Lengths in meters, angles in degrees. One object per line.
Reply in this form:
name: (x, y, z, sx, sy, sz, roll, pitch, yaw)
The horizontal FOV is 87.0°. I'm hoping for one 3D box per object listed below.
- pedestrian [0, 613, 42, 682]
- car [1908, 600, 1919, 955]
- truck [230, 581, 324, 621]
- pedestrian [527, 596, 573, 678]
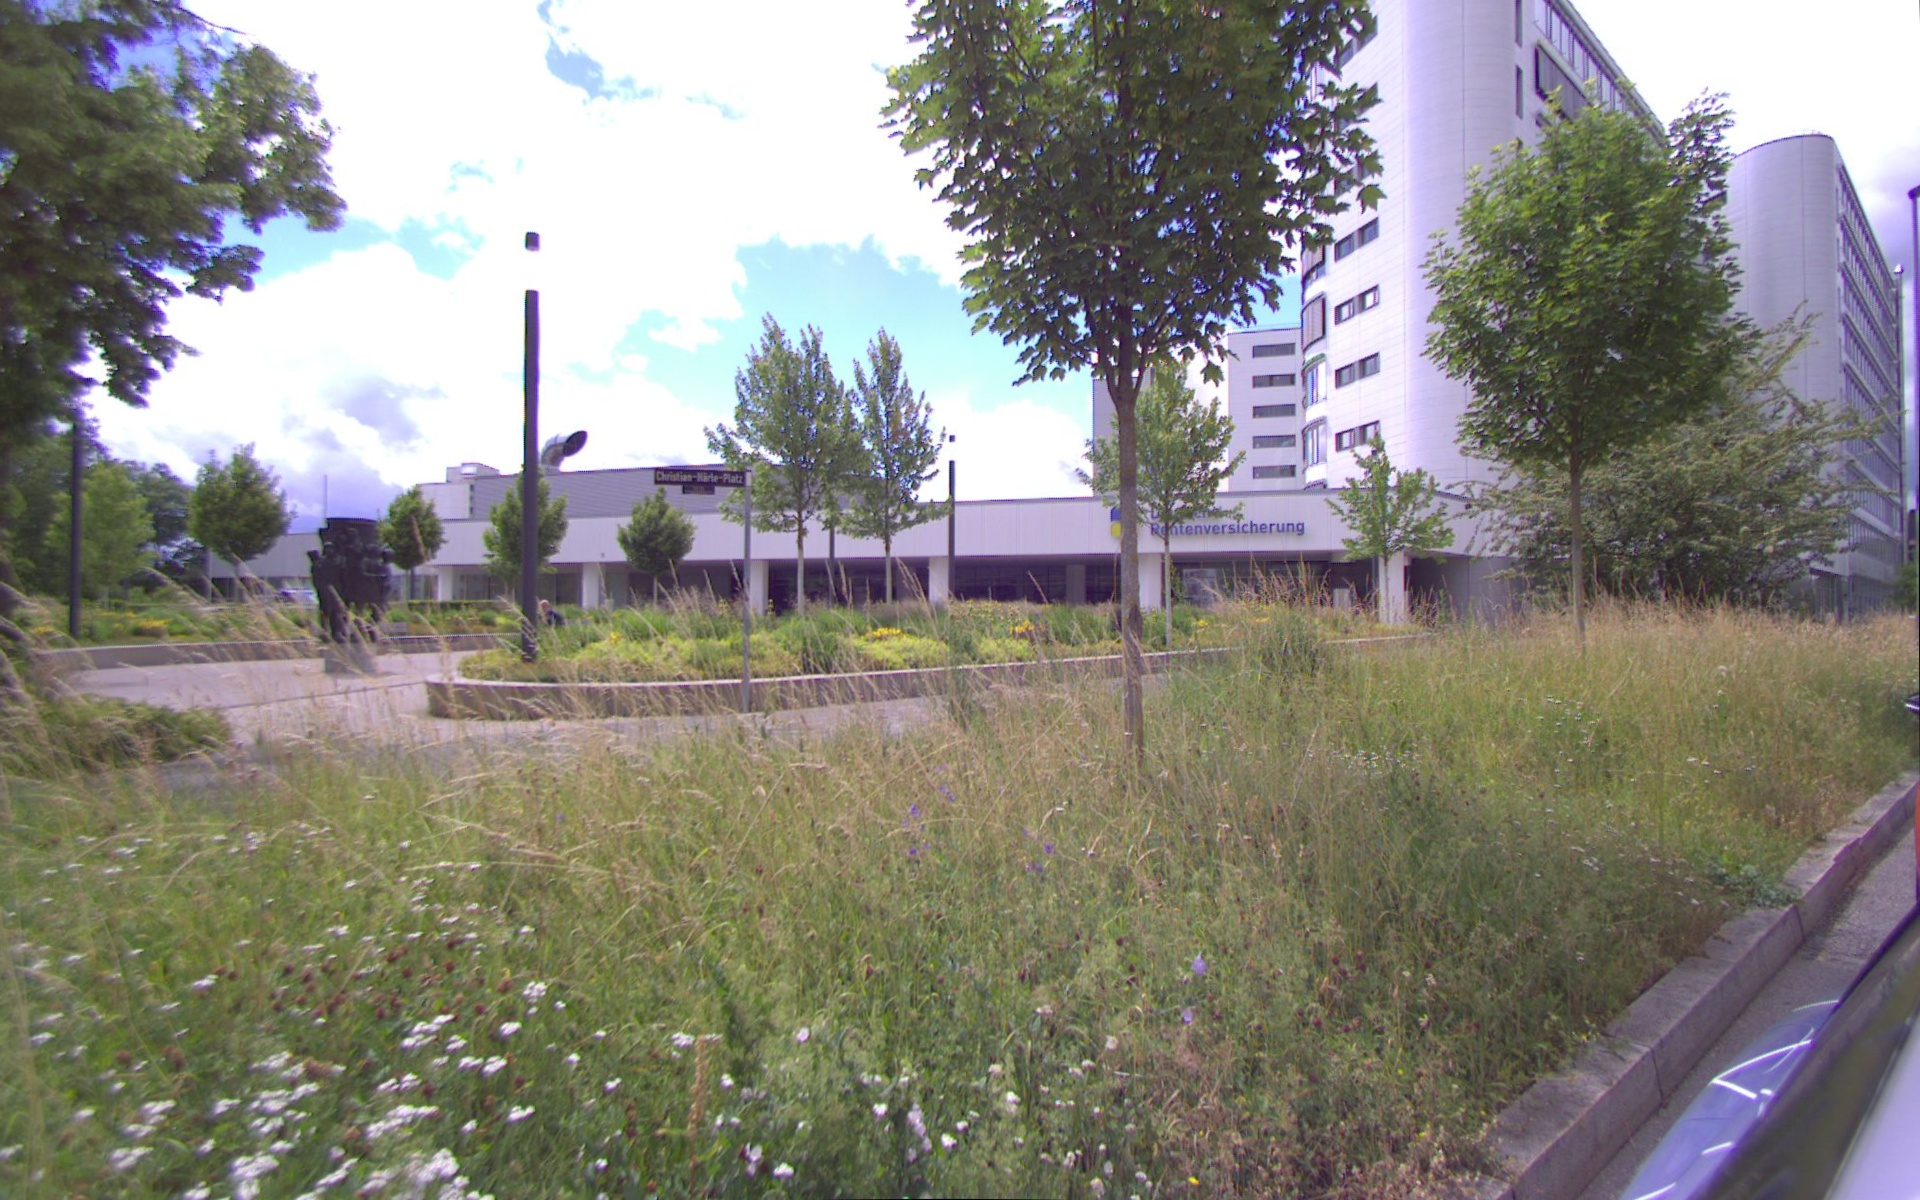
pedestrian: (-17.420, 0.860, 18.674, 0.621, 1.238, 0.620, 1, 0, -36)
car: (5.807, 0.750, 4.631, 3.611, 1.434, 1.748, 0, 1, -41)
truck: (-36.143, 0.060, 53.569, 3.941, 2.039, 1.991, 1, 0, 14)
pedestrian: (-8.434, 0.740, 20.805, 0.757, 1.646, 0.765, 1, -1, -32)
